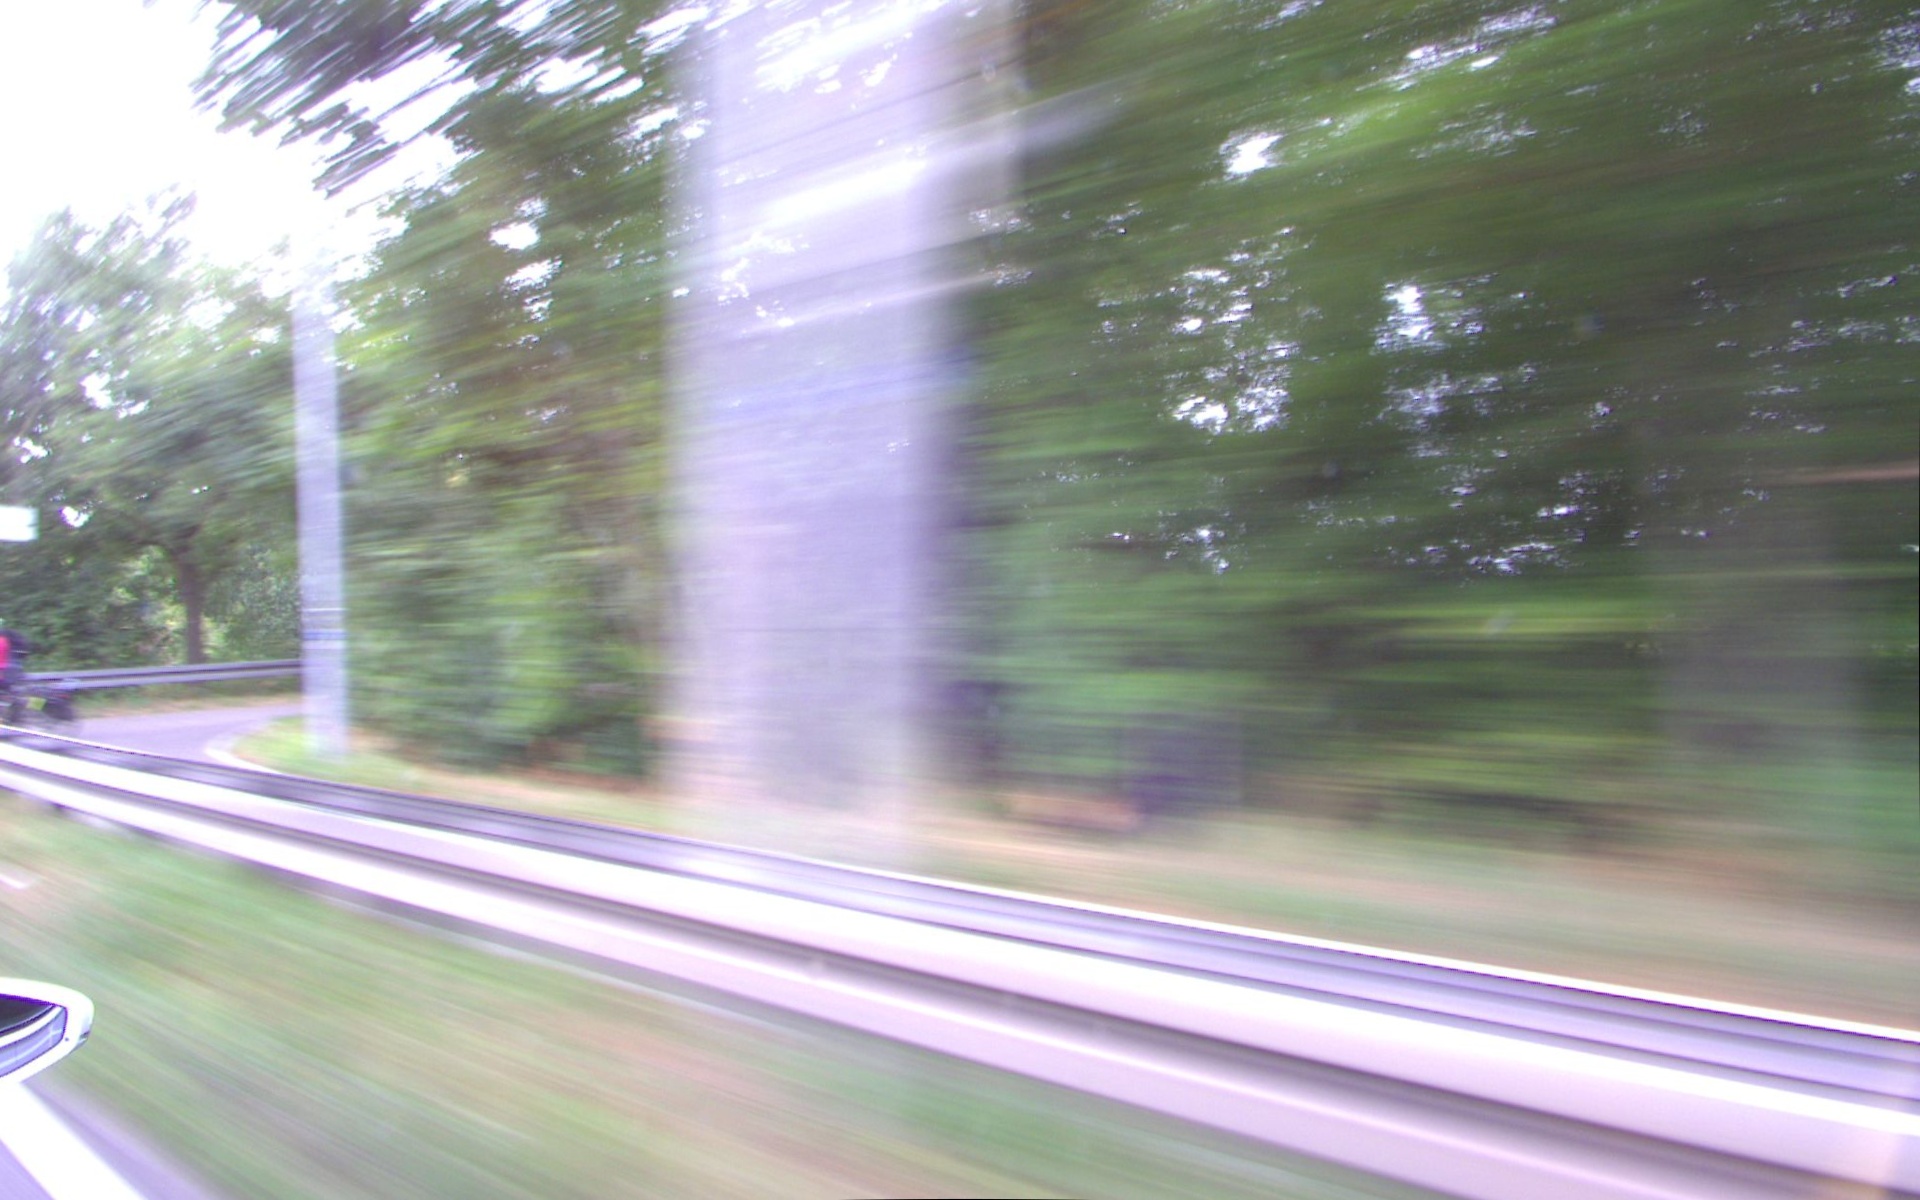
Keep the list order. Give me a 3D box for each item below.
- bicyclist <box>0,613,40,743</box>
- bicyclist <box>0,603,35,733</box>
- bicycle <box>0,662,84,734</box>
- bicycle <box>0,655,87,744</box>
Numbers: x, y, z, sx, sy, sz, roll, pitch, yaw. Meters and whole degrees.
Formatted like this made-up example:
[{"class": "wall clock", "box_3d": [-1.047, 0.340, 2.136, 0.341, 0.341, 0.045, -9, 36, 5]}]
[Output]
[{"class": "bicyclist", "box_3d": [-13.210, 1.061, 13.690, 0.843, 1.754, 0.632, -1, 0, -38]}, {"class": "bicyclist", "box_3d": [-14.199, 0.993, 14.548, 0.655, 1.869, 0.945, 0, 2, 35]}, {"class": "bicycle", "box_3d": [-14.166, 1.460, 14.608, 0.652, 0.953, 1.965, -1, 1, 35]}, {"class": "bicycle", "box_3d": [-13.159, 1.371, 13.726, 1.727, 1.153, 0.626, -1, 0, -38]}]
